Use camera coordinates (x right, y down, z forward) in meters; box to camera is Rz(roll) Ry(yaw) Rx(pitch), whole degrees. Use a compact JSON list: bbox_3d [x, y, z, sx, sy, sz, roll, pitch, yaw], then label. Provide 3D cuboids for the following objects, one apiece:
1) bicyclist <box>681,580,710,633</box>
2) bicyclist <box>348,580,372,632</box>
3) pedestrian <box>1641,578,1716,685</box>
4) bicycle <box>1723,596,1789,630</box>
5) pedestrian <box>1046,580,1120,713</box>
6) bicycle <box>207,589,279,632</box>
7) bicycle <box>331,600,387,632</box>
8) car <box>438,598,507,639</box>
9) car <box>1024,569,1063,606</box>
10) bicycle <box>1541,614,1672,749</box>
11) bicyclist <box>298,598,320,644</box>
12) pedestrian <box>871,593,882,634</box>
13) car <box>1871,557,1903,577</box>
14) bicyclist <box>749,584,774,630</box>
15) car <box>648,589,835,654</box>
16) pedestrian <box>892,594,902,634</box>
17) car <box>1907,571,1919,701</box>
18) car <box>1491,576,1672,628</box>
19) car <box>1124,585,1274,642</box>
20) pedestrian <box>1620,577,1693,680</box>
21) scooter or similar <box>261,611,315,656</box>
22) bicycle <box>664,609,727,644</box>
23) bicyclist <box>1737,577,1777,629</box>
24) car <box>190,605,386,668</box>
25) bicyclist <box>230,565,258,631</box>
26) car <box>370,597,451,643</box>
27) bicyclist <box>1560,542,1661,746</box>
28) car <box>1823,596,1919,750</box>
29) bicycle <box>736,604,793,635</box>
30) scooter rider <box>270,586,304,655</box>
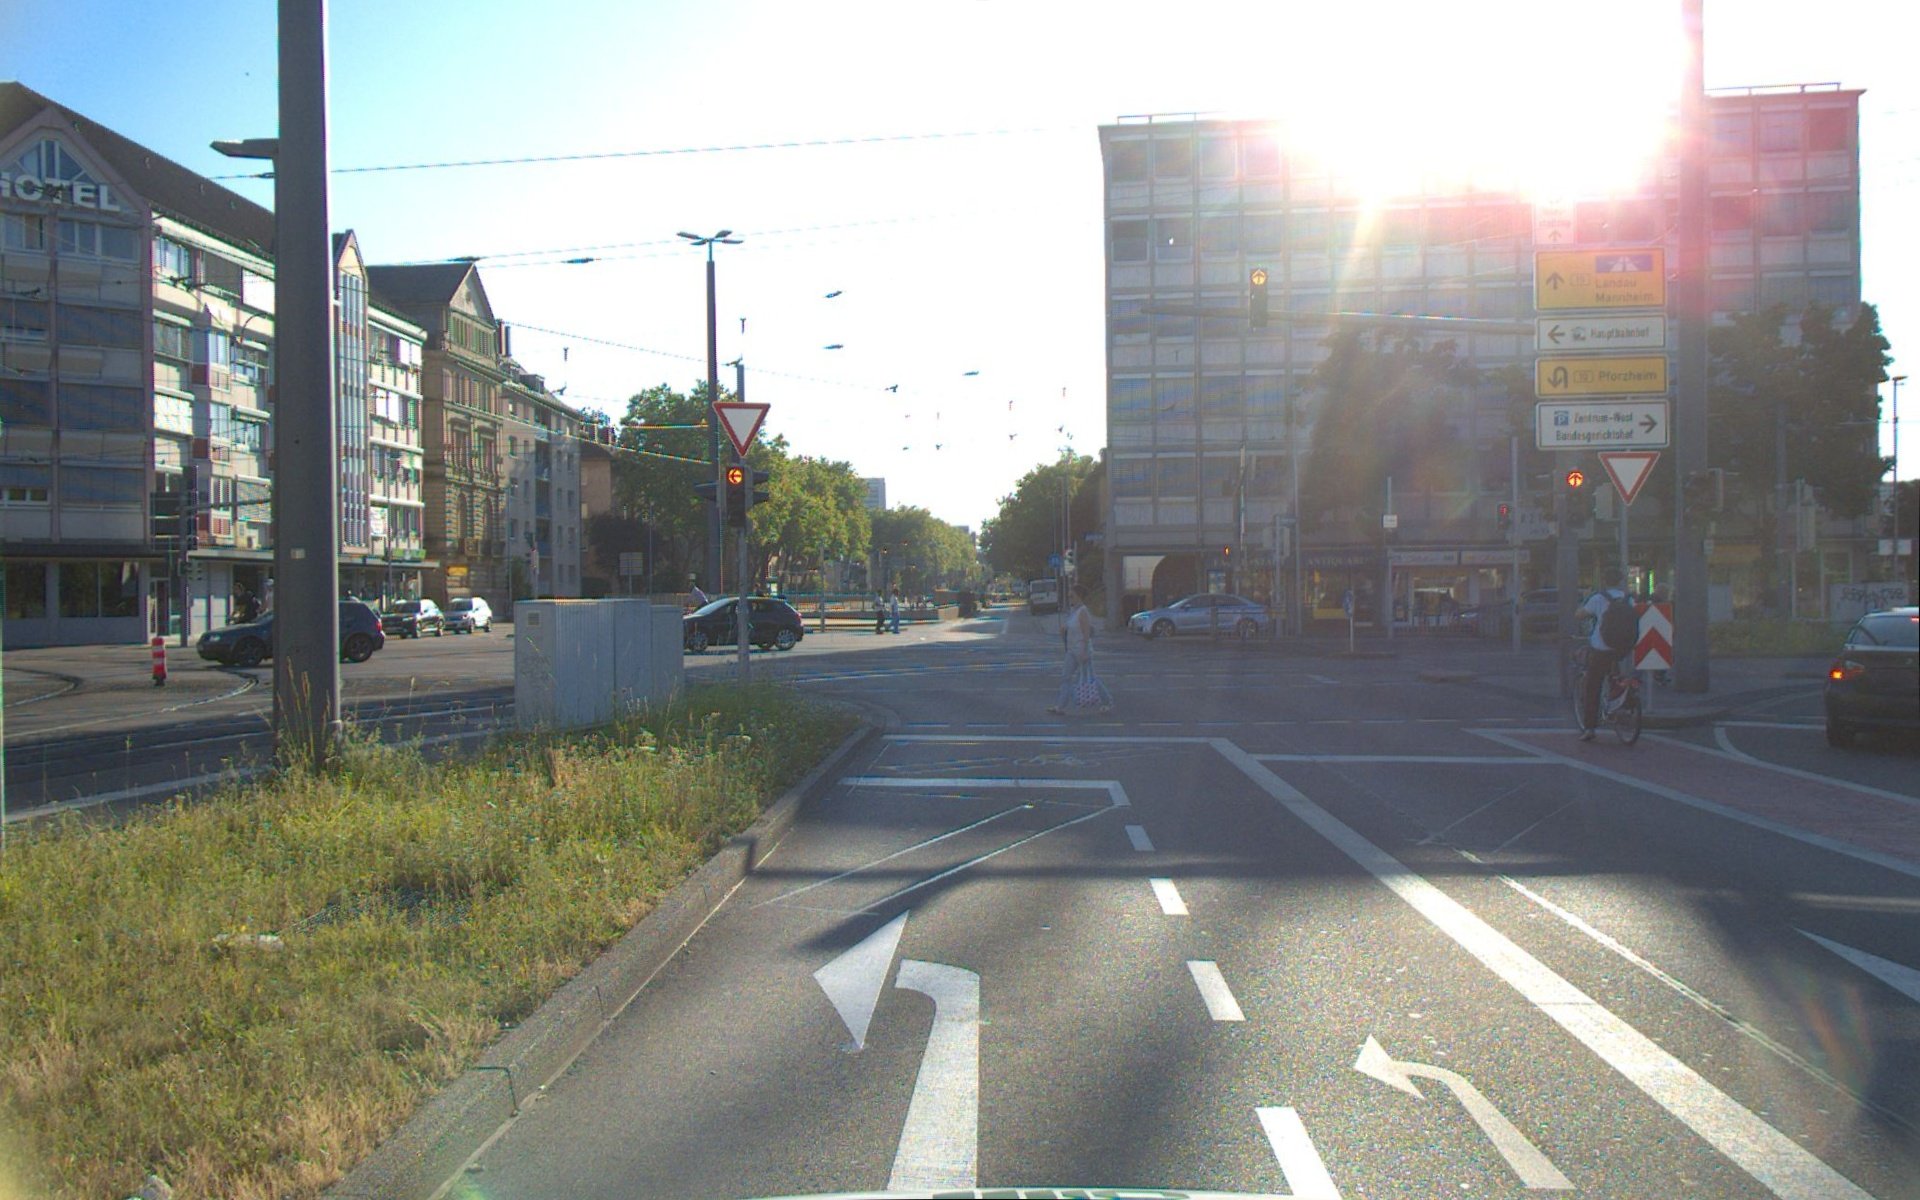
[{"bbox_3d":[-9.171,0.224,57.400,0.880,1.783,0.654,-1,0,-3],"label":"bicyclist"},{"bbox_3d":[-20.625,0.210,56.842,0.651,1.742,0.537,-1,0,-8],"label":"bicyclist"},{"bbox_3d":[11.192,0.485,25.789,0.860,1.625,0.655,-1,0,0],"label":"pedestrian"},{"bbox_3d":[27.058,0.448,56.247,1.933,1.117,0.677,-1,0,-2],"label":"bicycle"},{"bbox_3d":[1.526,0.568,20.648,0.860,1.625,0.655,-1,0,1],"label":"pedestrian"},{"bbox_3d":[-19.278,0.279,44.495,1.753,1.091,0.531,-1,0,-25],"label":"bicycle"},{"bbox_3d":[-20.648,0.548,56.840,1.699,1.078,0.538,-1,0,-8],"label":"bicycle"},{"bbox_3d":[-23.834,0.868,81.020,1.951,1.892,4.002,-1,0,4],"label":"car"},{"bbox_3d":[5.780,-0.839,115.134,2.434,2.434,5.935,-2,0,1],"label":"car"},{"bbox_3d":[6.762,0.814,17.402,0.631,1.244,2.049,1,2,3],"label":"bicycle"},{"bbox_3d":[-27.145,0.874,68.974,0.580,1.894,0.642,-1,0,3],"label":"bicyclist"},{"bbox_3d":[-3.157,0.490,62.211,0.358,1.534,0.542,-1,0,-5],"label":"pedestrian"},{"bbox_3d":[69.155,-2.463,123.450,1.955,1.422,3.994,-1,0,28],"label":"car"},{"bbox_3d":[-7.792,0.277,65.020,0.880,1.783,0.650,-1,0,-2],"label":"bicyclist"},{"bbox_3d":[-5.997,0.569,45.435,4.708,1.624,1.982,-1,0,-27],"label":"car"},{"bbox_3d":[-2.407,0.532,63.112,0.358,1.534,0.542,-1,0,-5],"label":"pedestrian"},{"bbox_3d":[14.701,0.479,22.877,1.965,1.723,3.976,2,2,42],"label":"car"},{"bbox_3d":[18.732,0.055,50.065,4.814,1.504,2.002,-1,0,9],"label":"car"},{"bbox_3d":[7.281,0.396,50.640,4.245,1.624,1.999,-1,0,-3],"label":"car"},{"bbox_3d":[11.181,0.448,26.561,0.860,1.625,0.655,-1,0,0],"label":"pedestrian"},{"bbox_3d":[-17.064,0.846,42.014,1.149,1.091,0.529,-1,0,-8],"label":"scooter or similar"},{"bbox_3d":[-9.180,0.904,57.397,2.052,1.157,0.658,-1,0,-3],"label":"bicycle"},{"bbox_3d":[27.091,0.105,56.254,1.019,1.769,0.678,-1,0,-2],"label":"bicyclist"},{"bbox_3d":[-15.658,0.818,38.592,3.952,1.310,1.825,-1,0,-34],"label":"car"},{"bbox_3d":[-19.260,-0.058,44.505,0.655,1.742,0.534,-1,0,-25],"label":"bicyclist"},{"bbox_3d":[-24.218,0.854,73.037,1.951,1.892,4.002,-1,0,4],"label":"car"},{"bbox_3d":[6.773,0.428,17.264,0.630,2.048,1.067,1,2,2],"label":"bicyclist"},{"bbox_3d":[10.334,0.692,17.416,1.714,1.451,3.986,0,0,35],"label":"car"},{"bbox_3d":[-7.681,0.752,65.026,2.130,1.157,0.659,-1,0,-3],"label":"bicycle"},{"bbox_3d":[-17.096,0.514,42.013,0.651,1.742,0.525,-1,0,-8],"label":"scooter rider"}]
